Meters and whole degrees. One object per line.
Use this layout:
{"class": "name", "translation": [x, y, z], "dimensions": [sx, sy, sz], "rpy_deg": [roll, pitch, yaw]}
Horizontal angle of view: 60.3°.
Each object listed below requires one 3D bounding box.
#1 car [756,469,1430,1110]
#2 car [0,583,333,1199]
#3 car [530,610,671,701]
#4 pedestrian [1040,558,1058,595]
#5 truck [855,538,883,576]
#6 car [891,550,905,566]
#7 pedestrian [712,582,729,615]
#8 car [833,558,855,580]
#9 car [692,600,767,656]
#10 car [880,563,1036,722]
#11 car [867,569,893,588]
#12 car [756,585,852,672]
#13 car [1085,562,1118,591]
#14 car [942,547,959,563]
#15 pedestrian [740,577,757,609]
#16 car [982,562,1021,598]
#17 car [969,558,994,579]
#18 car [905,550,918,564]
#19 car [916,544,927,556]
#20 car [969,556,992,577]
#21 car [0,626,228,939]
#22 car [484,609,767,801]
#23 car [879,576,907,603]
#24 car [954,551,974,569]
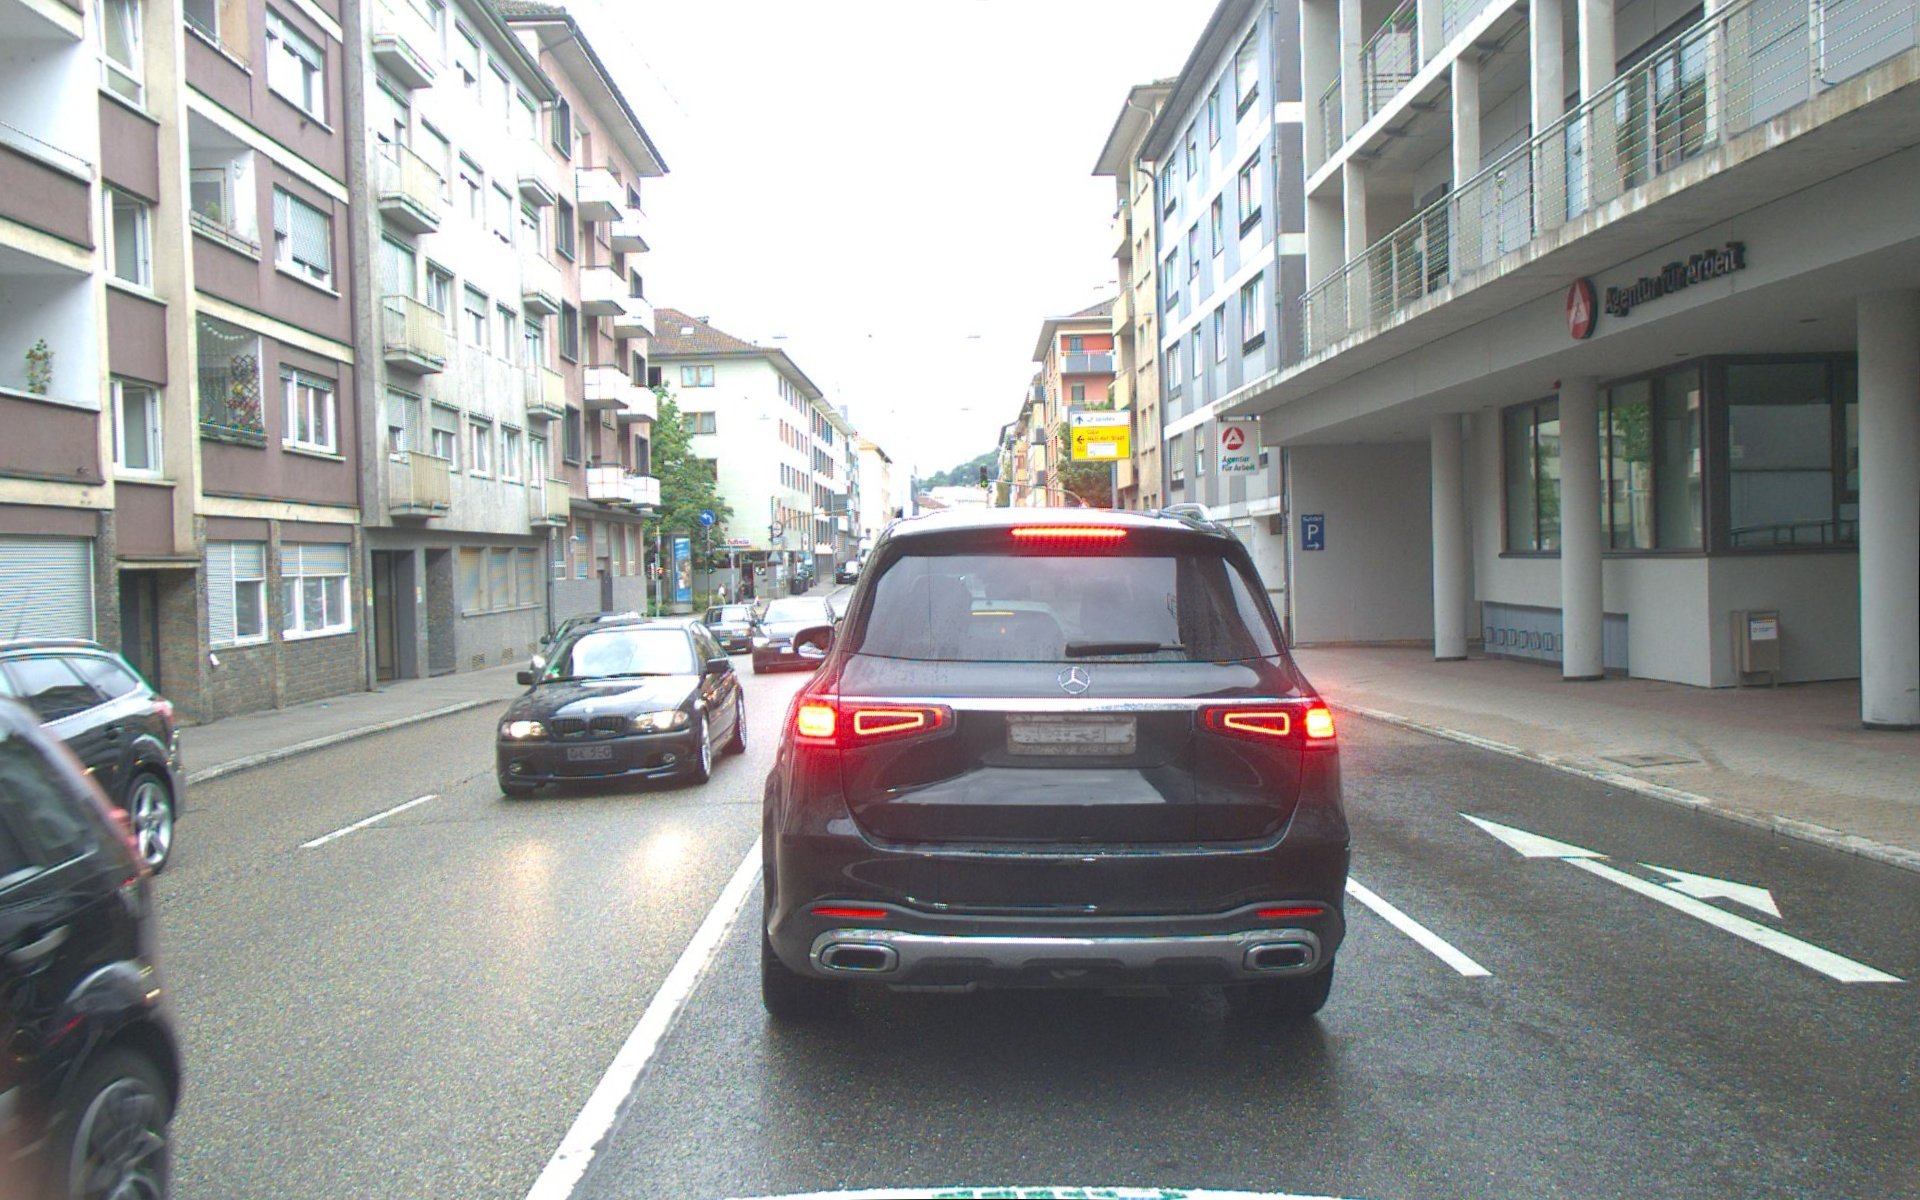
{"class": "car", "translation": [0.362, 0.564, 7.013], "dimensions": [1.944, 1.836, 4.389], "rpy_deg": [1, 0, -1]}
{"class": "car", "translation": [-2.537, 0.793, 2.632], "dimensions": [1.586, 1.566, 4.215], "rpy_deg": [-3, 0, -3]}
{"class": "car", "translation": [-6.393, 0.946, 29.826], "dimensions": [1.661, 1.394, 4.364], "rpy_deg": [-4, 0, -2]}
{"class": "pedestrian", "translation": [5.008, -1.314, 93.388], "dimensions": [0.904, 2.049, 0.706], "rpy_deg": [-2, 0, -3]}
{"class": "truck", "translation": [-8.591, -4.020, 156.936], "dimensions": [2.430, 3.099, 9.914], "rpy_deg": [-3, 0, -3]}
{"class": "car", "translation": [-7.272, -4.906, 193.599], "dimensions": [1.586, 1.566, 4.215], "rpy_deg": [-3, 0, -3]}
{"class": "pedestrian", "translation": [-13.303, -0.084, 91.913], "dimensions": [0.622, 1.795, 0.774], "rpy_deg": [-2, 0, 11]}
{"class": "car", "translation": [-9.201, -2.455, 131.484], "dimensions": [1.586, 1.566, 4.215], "rpy_deg": [-3, 0, -3]}
{"class": "car", "translation": [-6.532, 0.759, 47.153], "dimensions": [1.566, 1.394, 4.361], "rpy_deg": [-4, 0, -2]}
{"class": "car", "translation": [-0.124, 0.488, 20.821], "dimensions": [1.716, 1.762, 4.215], "rpy_deg": [-1, 0, -3]}
{"class": "car", "translation": [-6.123, -1.656, 126.673], "dimensions": [1.848, 1.286, 4.215], "rpy_deg": [-3, 0, -3]}
{"class": "car", "translation": [-3.227, 0.591, 34.872], "dimensions": [1.661, 1.608, 4.216], "rpy_deg": [-4, -1, -2]}
{"class": "car", "translation": [8.103, -1.347, 94.748], "dimensions": [1.636, 1.616, 3.331], "rpy_deg": [-2, 1, 1]}
{"class": "car", "translation": [-1.094, -4.899, 180.790], "dimensions": [1.586, 1.566, 4.215], "rpy_deg": [-3, 0, -3]}
{"class": "pedestrian", "translation": [-12.992, -0.416, 101.693], "dimensions": [0.904, 1.935, 0.706], "rpy_deg": [-2, 0, -3]}
{"class": "car", "translation": [2.192, -1.041, 89.032], "dimensions": [1.689, 1.790, 4.215], "rpy_deg": [-3, 0, -3]}
{"class": "car", "translation": [1.611, -2.332, 124.534], "dimensions": [1.586, 1.411, 4.215], "rpy_deg": [-3, 0, -3]}
{"class": "car", "translation": [-6.466, -5.675, 219.207], "dimensions": [1.586, 1.566, 4.215], "rpy_deg": [-3, 0, -3]}
{"class": "car", "translation": [-5.814, -7.533, 250.179], "dimensions": [1.586, 1.566, 4.215], "rpy_deg": [-3, 0, -3]}
{"class": "car", "translation": [1.667, -2.728, 136.369], "dimensions": [1.586, 1.566, 4.215], "rpy_deg": [-3, 0, -3]}
{"class": "car", "translation": [-5.708, 0.995, 8.863], "dimensions": [1.689, 1.498, 4.372], "rpy_deg": [-4, 1, -2]}
{"class": "car", "translation": [-2.857, 0.836, 15.022], "dimensions": [1.660, 1.394, 4.217], "rpy_deg": [-4, -1, 0]}
{"class": "car", "translation": [-4.119, -0.625, 101.164], "dimensions": [1.586, 1.566, 4.215], "rpy_deg": [-3, 0, -3]}
{"class": "car", "translation": [0.378, -3.880, 162.660], "dimensions": [1.586, 1.566, 4.215], "rpy_deg": [-3, 0, -3]}
